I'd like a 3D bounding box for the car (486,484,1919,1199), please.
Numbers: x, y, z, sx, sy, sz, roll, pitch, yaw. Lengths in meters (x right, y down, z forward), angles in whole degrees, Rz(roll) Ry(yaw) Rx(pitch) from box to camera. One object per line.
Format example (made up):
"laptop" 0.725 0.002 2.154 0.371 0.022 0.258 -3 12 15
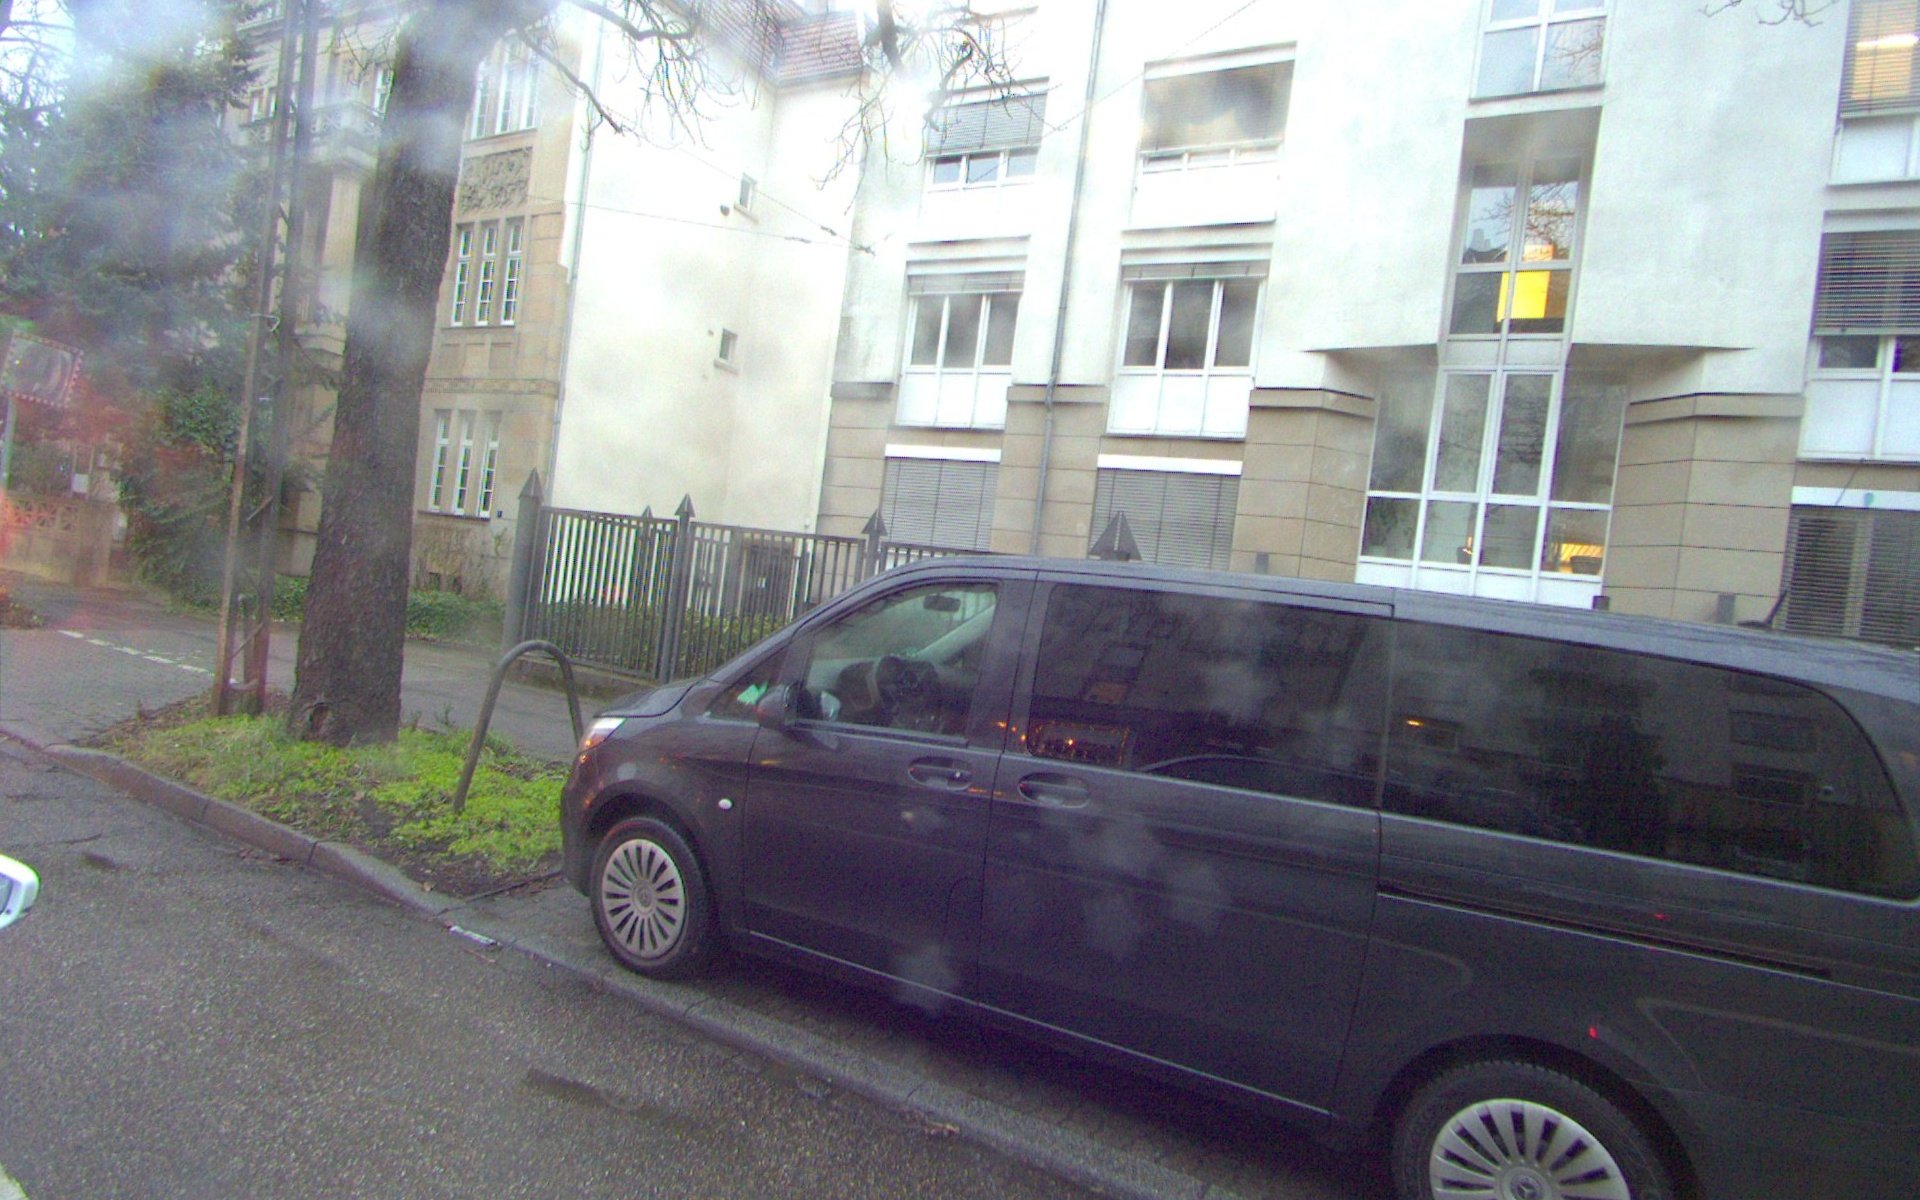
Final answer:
"car" 0.670 0.781 4.074 4.877 1.899 2.035 7 0 28
